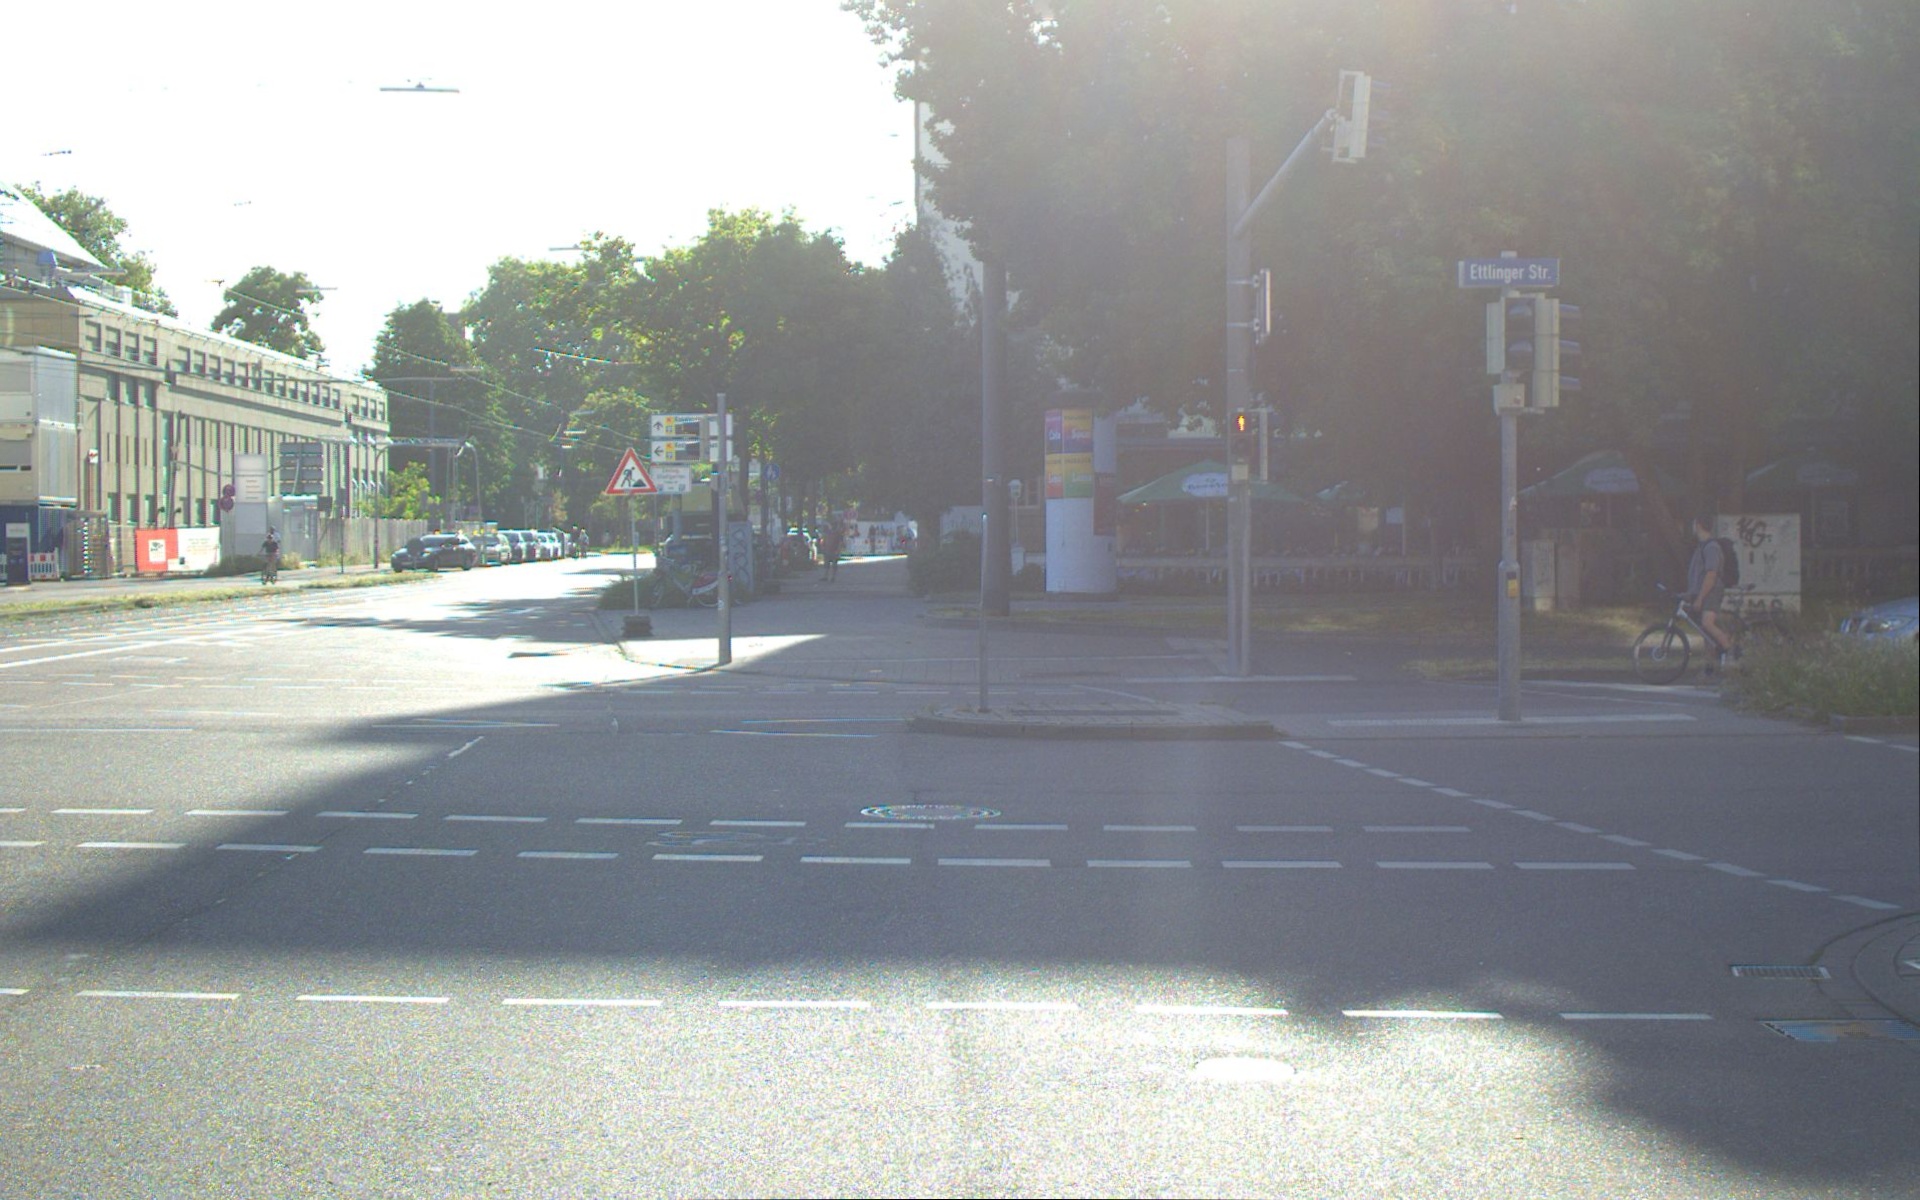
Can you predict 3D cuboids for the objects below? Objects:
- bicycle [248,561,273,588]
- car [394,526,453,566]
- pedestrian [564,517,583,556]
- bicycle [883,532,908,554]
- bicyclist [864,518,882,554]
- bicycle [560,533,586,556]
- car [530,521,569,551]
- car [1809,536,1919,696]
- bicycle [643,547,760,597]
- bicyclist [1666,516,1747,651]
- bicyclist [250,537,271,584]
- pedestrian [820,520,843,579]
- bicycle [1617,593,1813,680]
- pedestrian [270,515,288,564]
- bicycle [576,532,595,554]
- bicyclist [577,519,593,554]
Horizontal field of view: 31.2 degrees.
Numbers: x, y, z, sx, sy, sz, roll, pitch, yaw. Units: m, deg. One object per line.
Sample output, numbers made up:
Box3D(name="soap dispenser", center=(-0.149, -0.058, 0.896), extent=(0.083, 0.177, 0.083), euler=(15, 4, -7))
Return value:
Box3D(name="bicycle", center=(-22.370, -0.827, 109.936), extent=(0.494, 0.836, 1.156), euler=(-1, 1, 2))
Box3D(name="car", center=(-21.971, -2.204, 140.929), extent=(1.993, 1.593, 4.001), euler=(-1, 1, -3))
Box3D(name="pedestrian", center=(-20.494, -3.369, 182.263), extent=(0.751, 2.056, 1.050), euler=(1, 0, 5))
Box3D(name="bicycle", center=(-3.644, -3.209, 194.999), extent=(0.890, 1.215, 2.794), euler=(1, 1, -12))
Box3D(name="bicyclist", center=(-4.943, -3.620, 194.666), extent=(0.890, 2.007, 0.749), euler=(1, 0, -12))
Box3D(name="bicycle", center=(-20.493, -2.935, 182.228), extent=(0.751, 1.201, 3.107), euler=(1, 1, 5))
Box3D(name="car", center=(-23.243, -3.618, 194.687), extent=(1.993, 1.638, 4.001), euler=(-1, 1, -4))
Box3D(name="car", center=(10.839, 0.169, 33.568), extent=(4.576, 1.511, 2.000), euler=(1, 0, 0))
Box3D(name="bicycle", center=(-5.055, -0.546, 67.219), extent=(2.244, 0.937, 0.654), euler=(-1, 1, -5))
Box3D(name="bicyclist", center=(7.893, -0.180, 36.374), extent=(0.747, 1.401, 0.702), euler=(1, 0, 6))
Box3D(name="bicyclist", center=(-22.379, -1.279, 109.948), extent=(0.494, 1.493, 0.666), euler=(-1, 1, 2))
Box3D(name="pedestrian", center=(-3.655, -1.434, 97.705), extent=(0.576, 1.683, 0.585), euler=(-1, 1, -8))
Box3D(name="bicycle", center=(7.975, 0.383, 36.375), extent=(1.944, 0.886, 0.718), euler=(1, 0, 6))
Box3D(name="pedestrian", center=(-26.353, -2.327, 133.073), extent=(0.588, 1.883, 0.478), euler=(1, 0, -1))
Box3D(name="bicycle", center=(-20.363, -3.094, 186.812), extent=(0.750, 1.201, 3.108), euler=(1, 1, -2))
Box3D(name="bicyclist", center=(-20.349, -3.453, 186.689), extent=(0.750, 1.913, 1.215), euler=(1, 0, -2))
